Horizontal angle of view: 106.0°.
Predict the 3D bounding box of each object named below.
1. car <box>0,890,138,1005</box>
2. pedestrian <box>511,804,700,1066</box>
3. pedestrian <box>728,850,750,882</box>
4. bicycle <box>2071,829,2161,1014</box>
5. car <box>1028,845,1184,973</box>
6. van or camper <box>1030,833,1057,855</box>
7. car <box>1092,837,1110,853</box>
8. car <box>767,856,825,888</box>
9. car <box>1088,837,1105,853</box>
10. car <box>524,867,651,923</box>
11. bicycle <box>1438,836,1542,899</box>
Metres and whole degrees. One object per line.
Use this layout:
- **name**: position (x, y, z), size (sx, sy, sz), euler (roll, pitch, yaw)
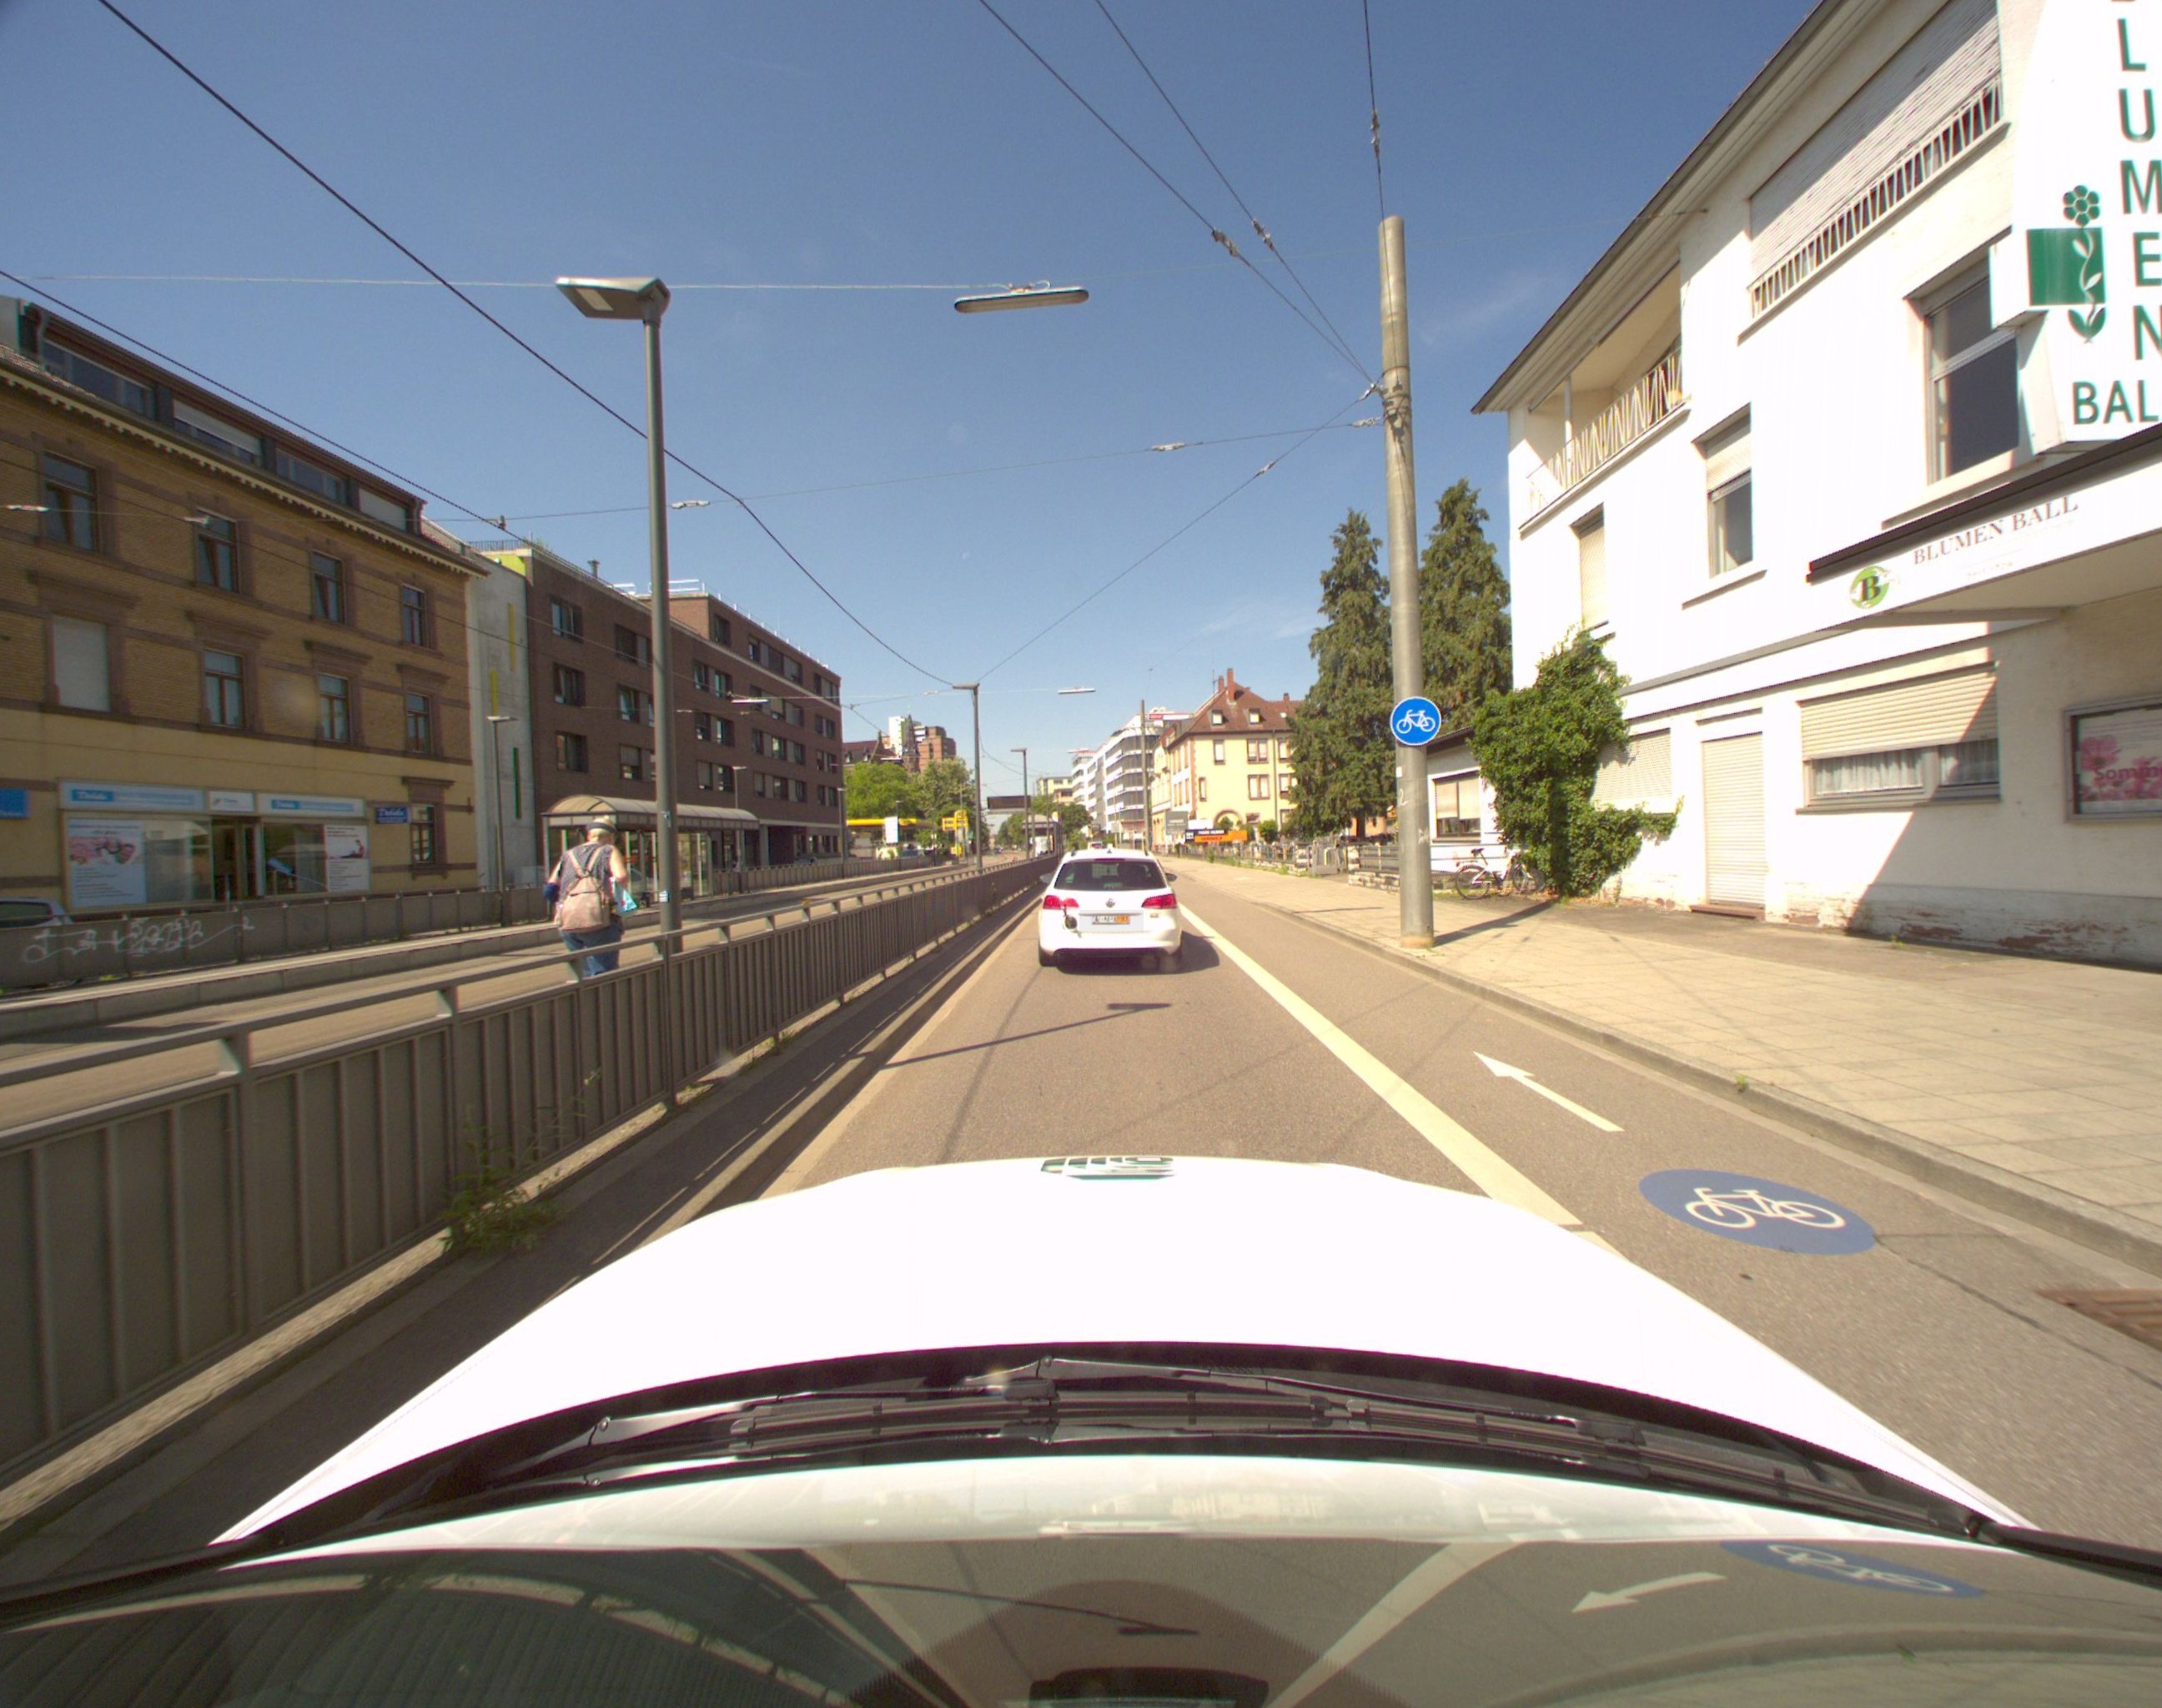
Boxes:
- **car**: position (-15.411, 1.351, 10.705), size (1.567, 1.459, 3.738), euler (-3, 1, 0)
- **pedestrian**: position (-3.525, 0.564, 6.125), size (0.823, 1.809, 0.834), euler (-3, 1, 2)
- **pedestrian**: position (-19.742, 0.667, 47.044), size (0.722, 1.790, 0.965), euler (-3, 1, 1)
- **bicycle**: position (7.005, 0.435, 4.526), size (0.720, 1.139, 2.203), euler (-2, 1, 14)
- **car**: position (0.422, 0.599, 11.075), size (1.745, 1.417, 3.857), euler (0, 1, 4)
- **van or camper**: position (-5.726, -1.561, 124.299), size (2.946, 3.179, 6.587), euler (-3, 1, -12)
- **car**: position (2.554, -1.204, 106.478), size (1.989, 2.013, 3.996), euler (-3, 1, -3)
- **car**: position (-14.774, 0.922, 42.411), size (1.567, 1.459, 3.738), euler (-3, 1, 0)
- **car**: position (2.049, -1.249, 111.911), size (1.989, 2.013, 3.996), euler (-3, 1, -3)
- **car**: position (-15.566, 1.233, 25.947), size (1.567, 1.459, 3.935), euler (-3, 1, 0)
- **bicycle**: position (7.886, 0.256, 15.735), size (1.705, 1.130, 0.526), euler (-3, 0, 3)
